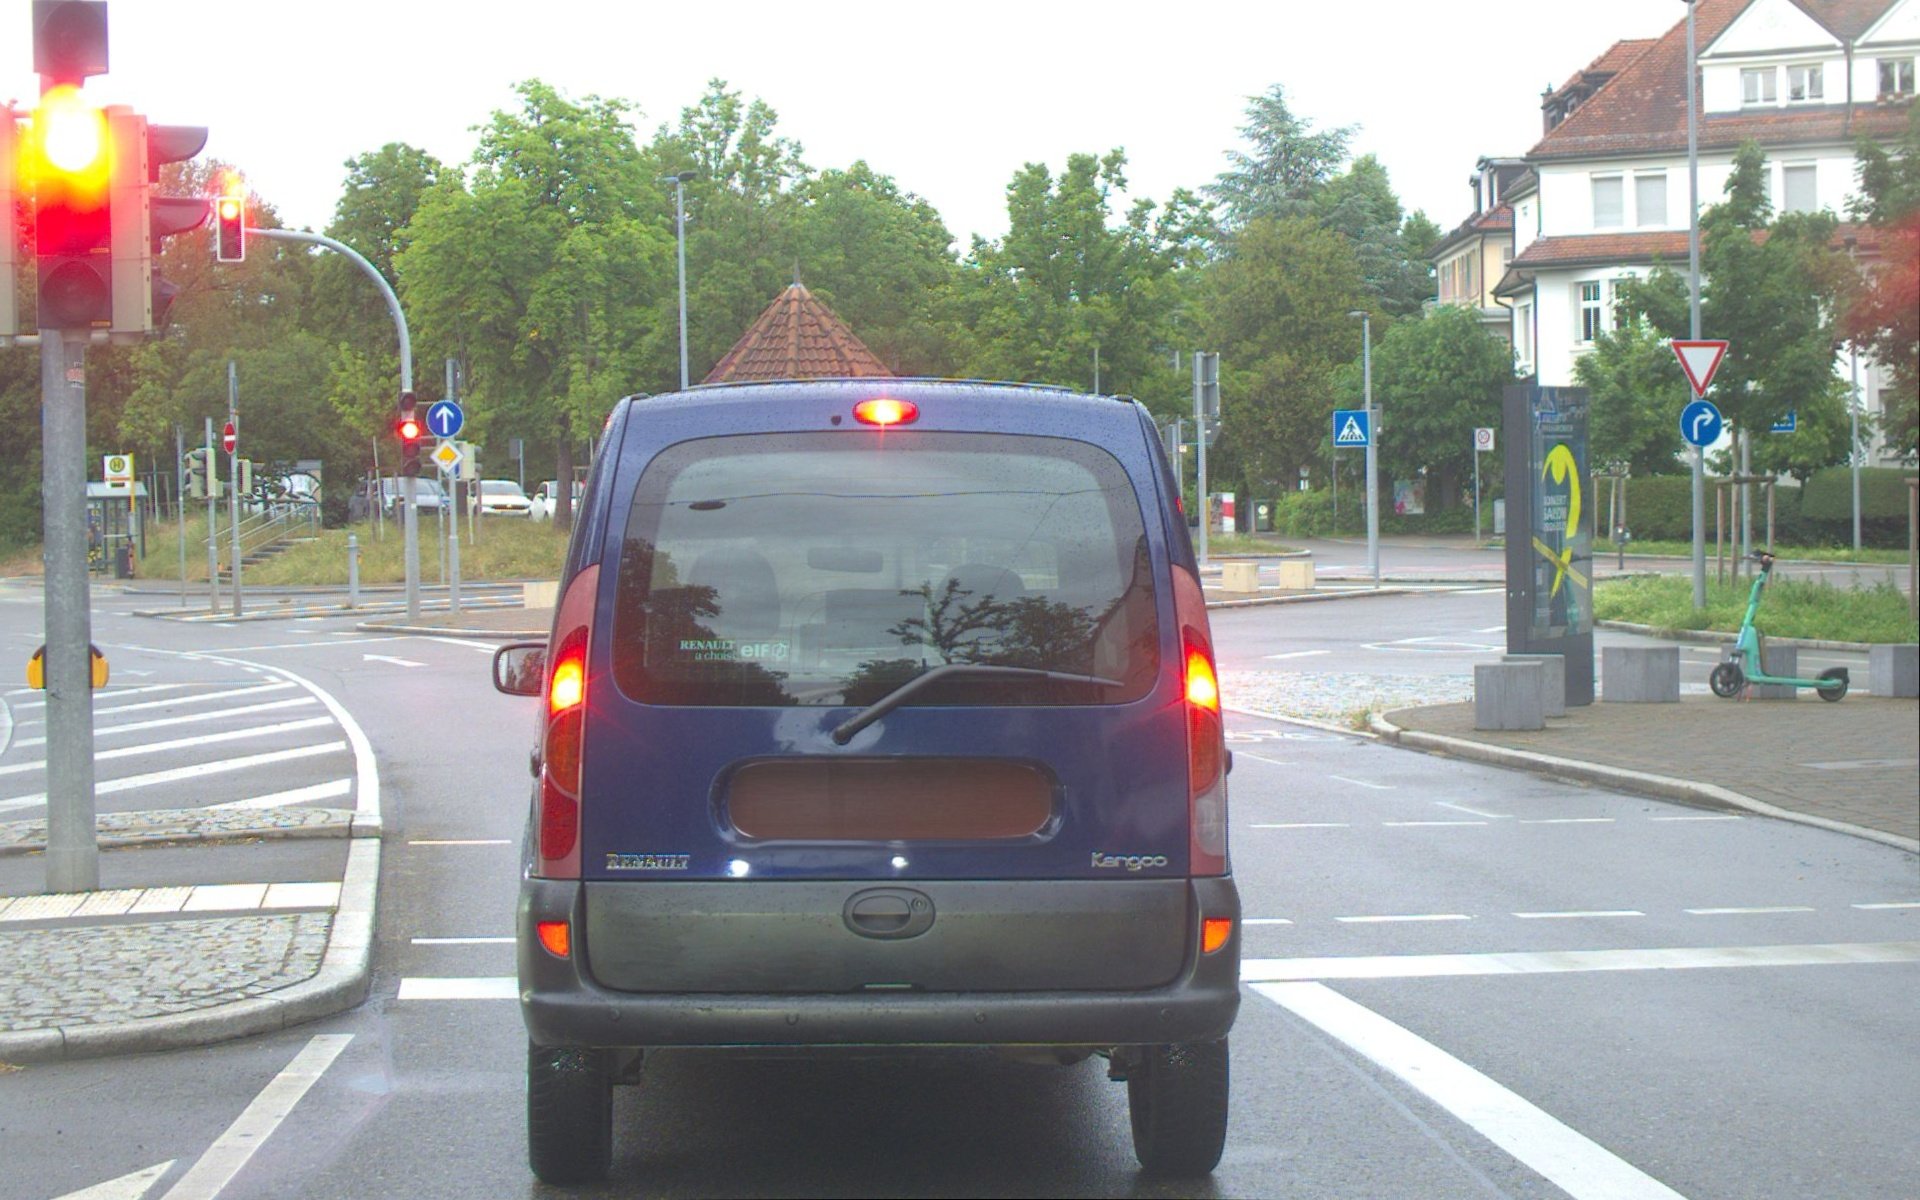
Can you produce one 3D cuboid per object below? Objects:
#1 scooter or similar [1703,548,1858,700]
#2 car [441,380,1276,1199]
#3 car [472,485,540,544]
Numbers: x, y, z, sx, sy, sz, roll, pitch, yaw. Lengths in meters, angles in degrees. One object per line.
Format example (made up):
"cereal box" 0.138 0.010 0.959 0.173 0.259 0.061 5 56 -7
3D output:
"scooter or similar" 6.689 0.196 28.056 1.149 1.214 0.406 -1 0 -1
"car" -0.293 0.387 9.145 1.731 1.780 4.001 0 1 -2
"car" -14.571 -2.723 110.204 1.993 1.806 4.001 0 0 -10
